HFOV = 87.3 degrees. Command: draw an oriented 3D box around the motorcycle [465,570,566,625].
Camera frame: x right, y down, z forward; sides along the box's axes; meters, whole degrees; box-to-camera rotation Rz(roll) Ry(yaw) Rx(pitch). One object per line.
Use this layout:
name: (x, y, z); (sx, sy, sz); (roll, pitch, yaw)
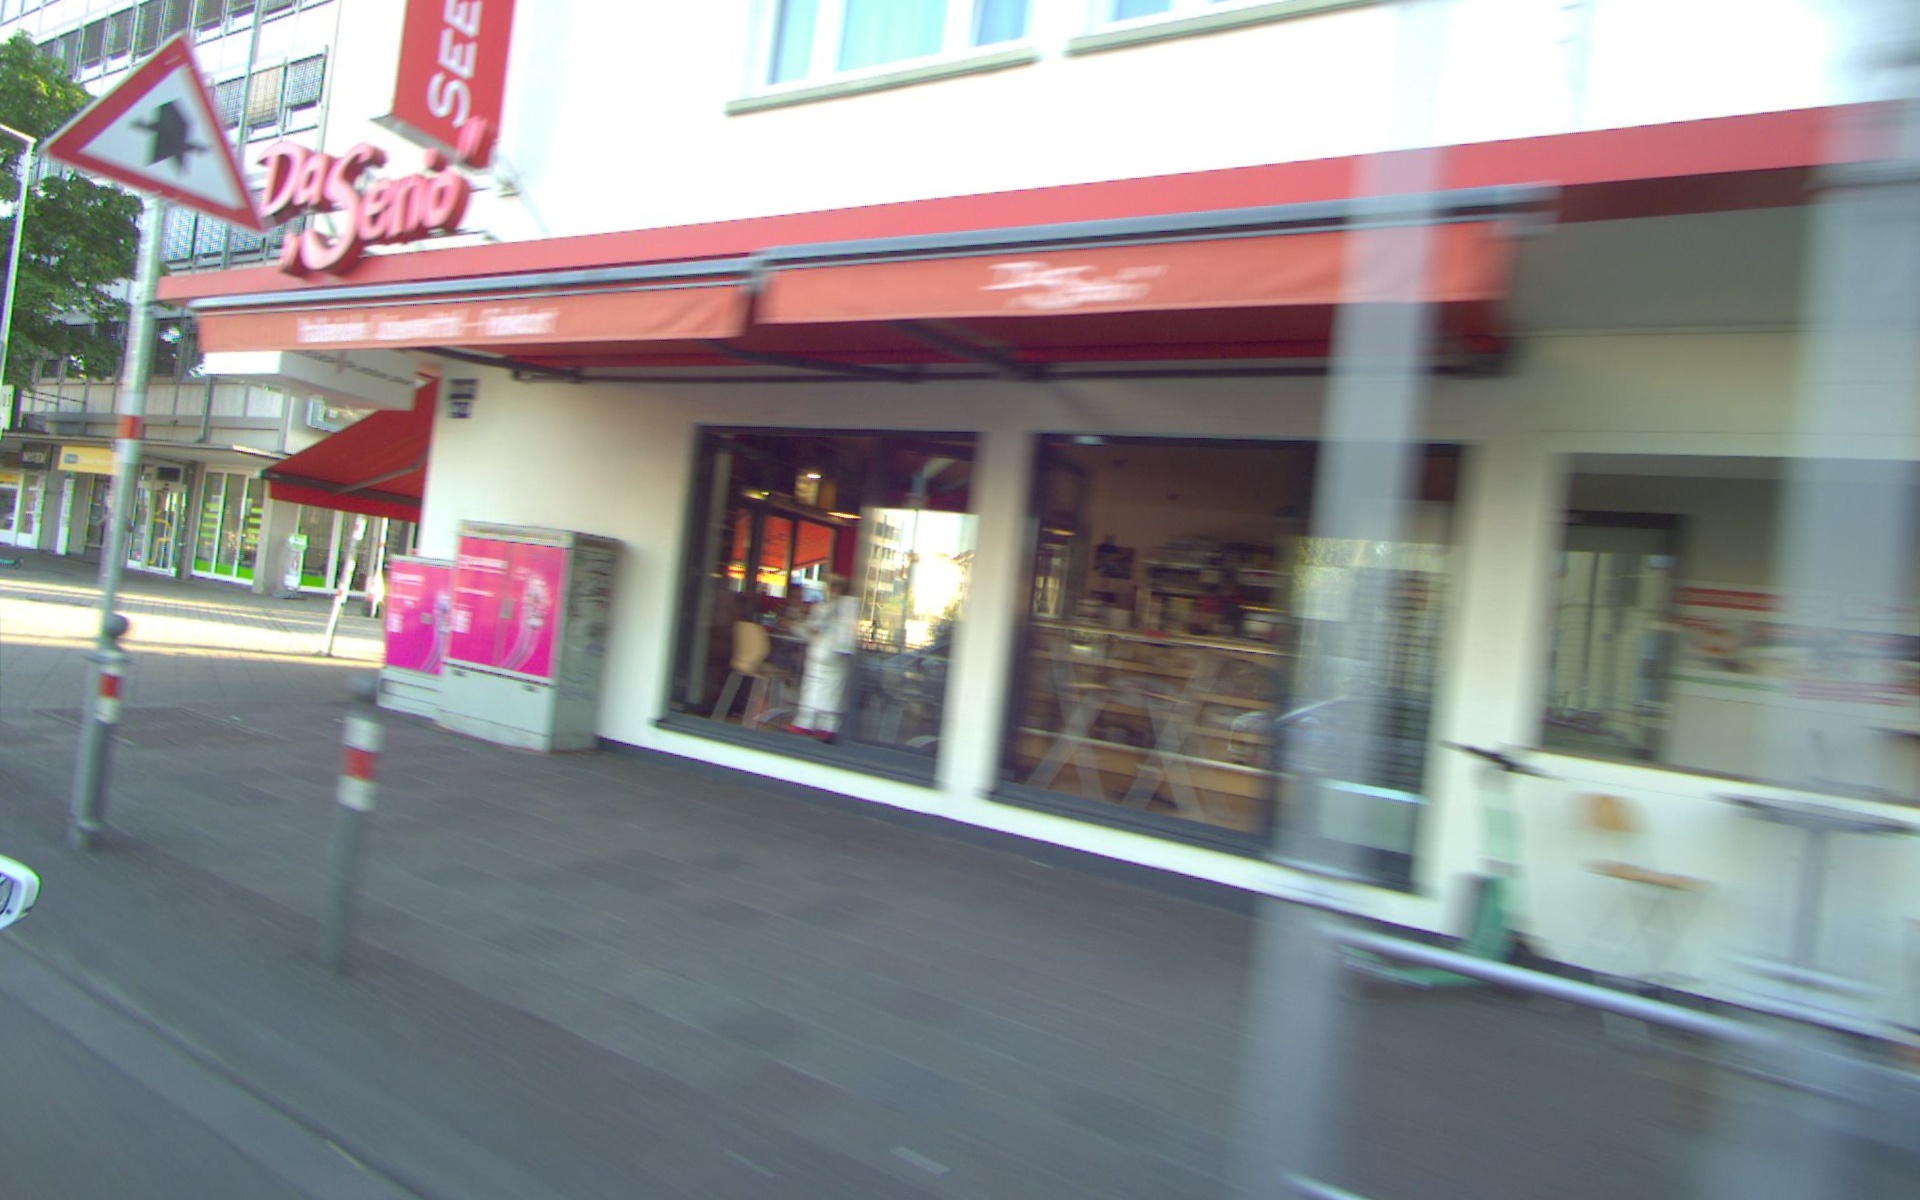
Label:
motorcycle: (-12.059, -0.058, 27.330); (2.278, 1.182, 0.801); (9, -2, -40)

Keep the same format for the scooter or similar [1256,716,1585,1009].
scooter or similar: (2.137, 1.222, 4.645); (1.418, 1.208, 0.334); (7, 0, -19)

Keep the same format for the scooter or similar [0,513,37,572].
scooter or similar: (-21.422, -1.322, 22.365); (1.202, 1.231, 0.294); (7, -2, -17)

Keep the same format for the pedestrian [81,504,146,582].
pedestrian: (-20.169, -1.354, 23.972); (0.879, 1.702, 0.748); (6, -3, 29)
